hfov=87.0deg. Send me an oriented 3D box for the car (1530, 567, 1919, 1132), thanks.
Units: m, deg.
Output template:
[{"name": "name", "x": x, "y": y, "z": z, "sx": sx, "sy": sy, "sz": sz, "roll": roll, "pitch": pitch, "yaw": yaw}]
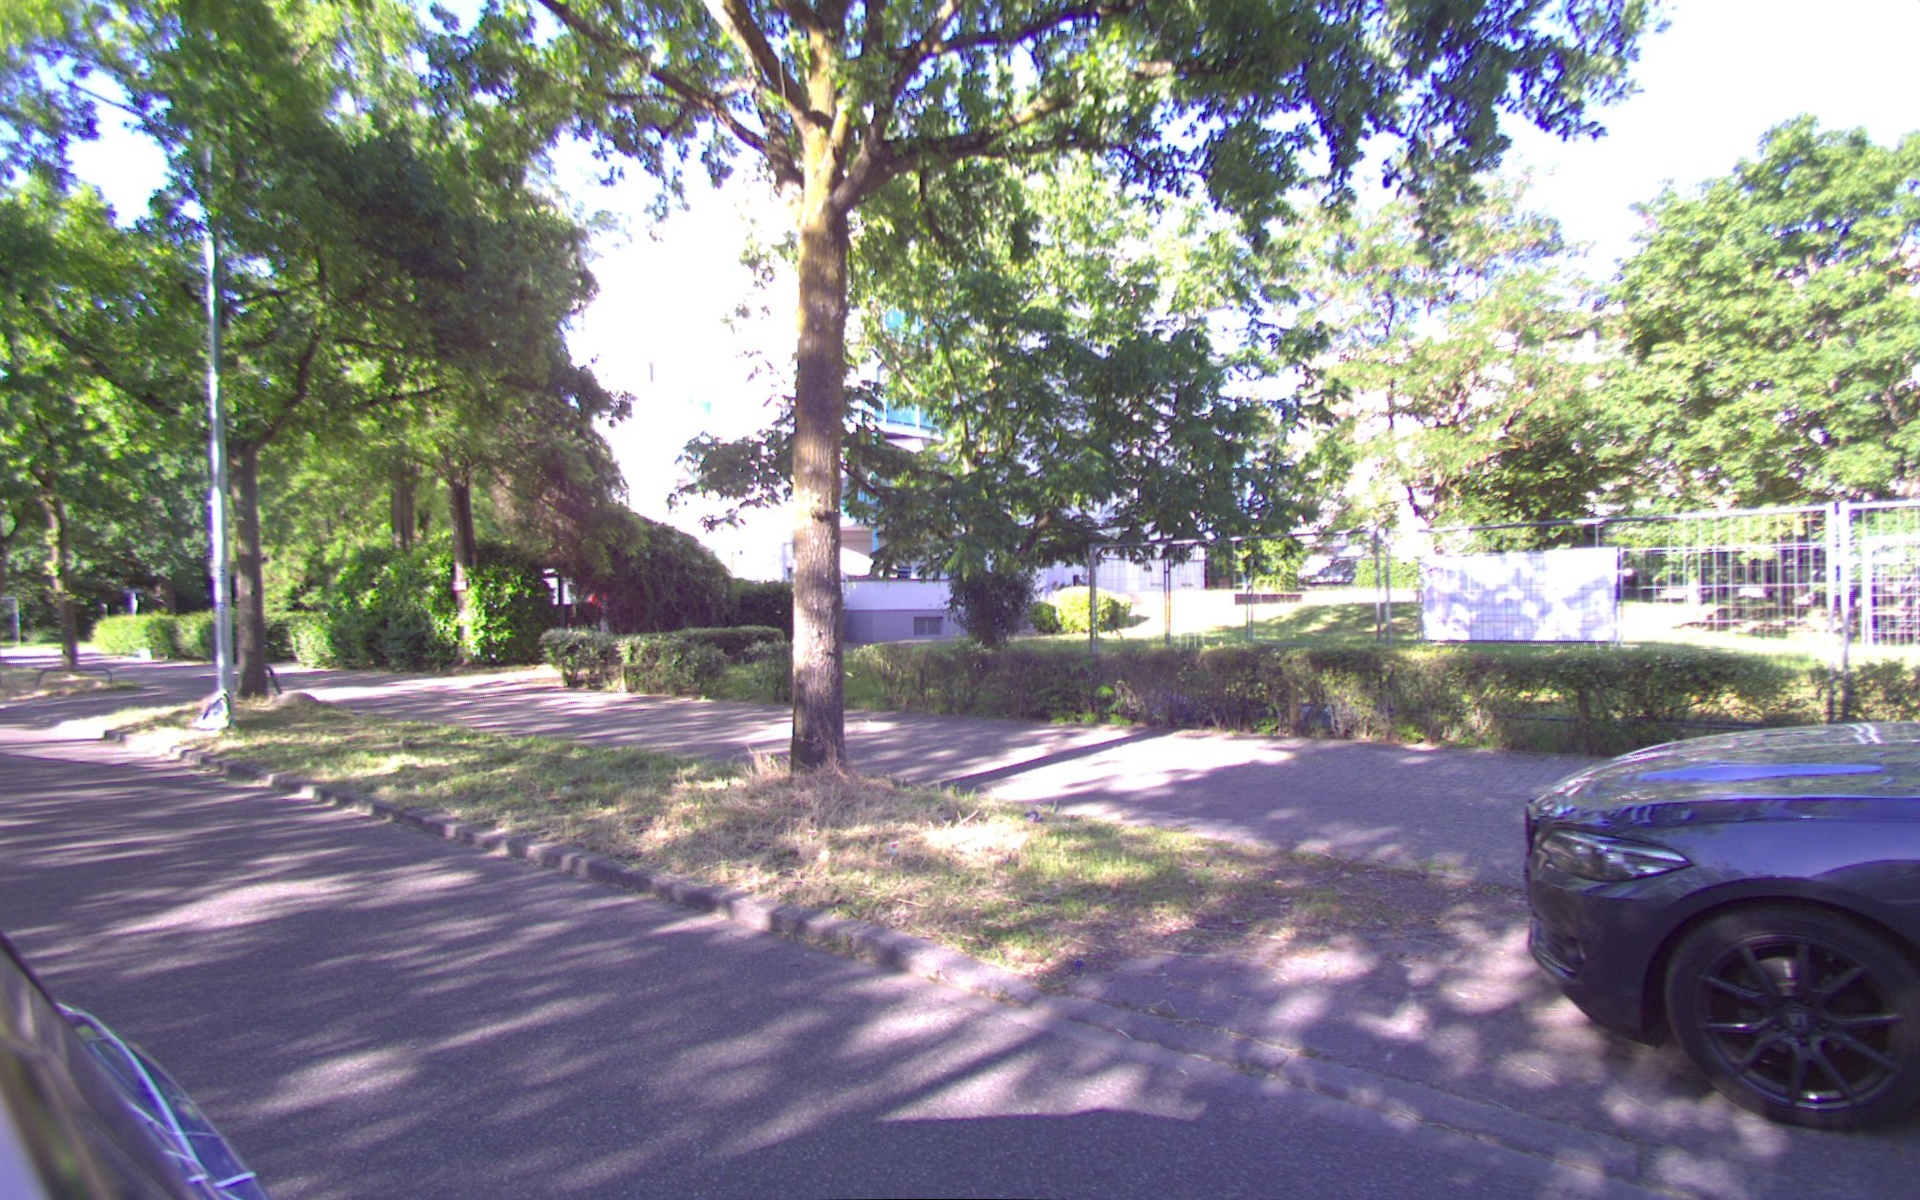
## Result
[{"name": "car", "x": 3.945, "y": 0.604, "z": 2.591, "sx": 4.130, "sy": 1.443, "sz": 1.701, "roll": -2, "pitch": 1, "yaw": 37}]
